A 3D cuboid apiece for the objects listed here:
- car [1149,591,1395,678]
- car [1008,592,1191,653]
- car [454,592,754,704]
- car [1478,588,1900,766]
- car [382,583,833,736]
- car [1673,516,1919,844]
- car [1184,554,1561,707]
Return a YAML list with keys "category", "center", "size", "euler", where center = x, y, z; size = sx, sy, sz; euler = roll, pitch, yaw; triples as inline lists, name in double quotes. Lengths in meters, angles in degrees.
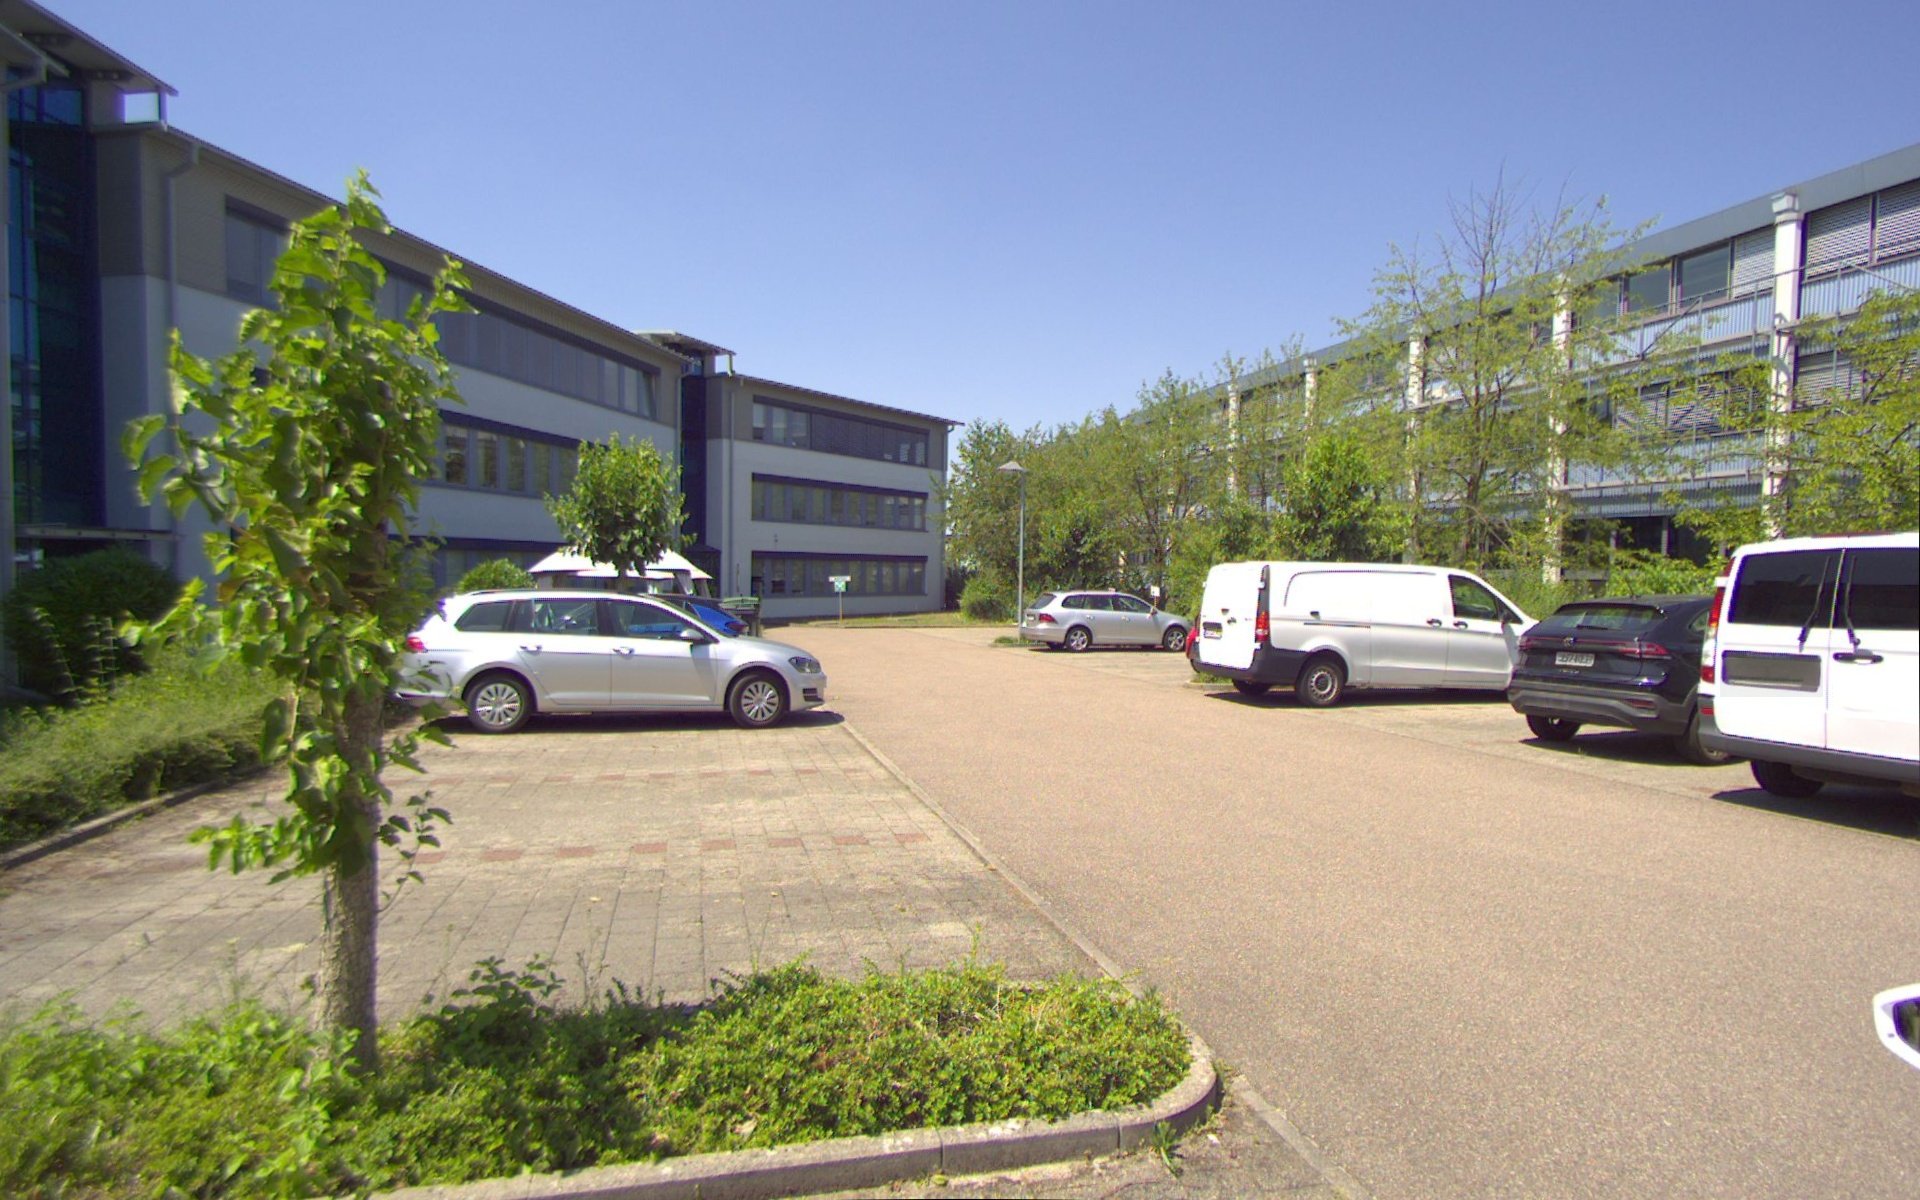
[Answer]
- category: "car"
  center: [5.654, 0.599, 18.339]
  size: [3.931, 1.460, 1.783]
  euler: [1, 1, -13]
- category: "car"
  center: [3.416, 0.528, 24.937]
  size: [4.098, 1.425, 1.868]
  euler: [0, 1, -13]
- category: "car"
  center: [-5.090, 0.630, 14.909]
  size: [3.931, 1.481, 1.995]
  euler: [0, 1, -13]
- category: "car"
  center: [7.319, 0.630, 10.069]
  size: [3.946, 1.496, 1.749]
  euler: [0, 1, -25]
- category: "car"
  center: [-3.771, 0.589, 11.308]
  size: [4.410, 1.492, 1.856]
  euler: [0, 1, -16]
- category: "car"
  center: [7.762, 0.468, 7.148]
  size: [4.730, 1.930, 1.912]
  euler: [0, 1, -17]
- category: "car"
  center: [5.731, 0.371, 14.124]
  size: [4.722, 1.916, 1.882]
  euler: [0, 1, -15]
